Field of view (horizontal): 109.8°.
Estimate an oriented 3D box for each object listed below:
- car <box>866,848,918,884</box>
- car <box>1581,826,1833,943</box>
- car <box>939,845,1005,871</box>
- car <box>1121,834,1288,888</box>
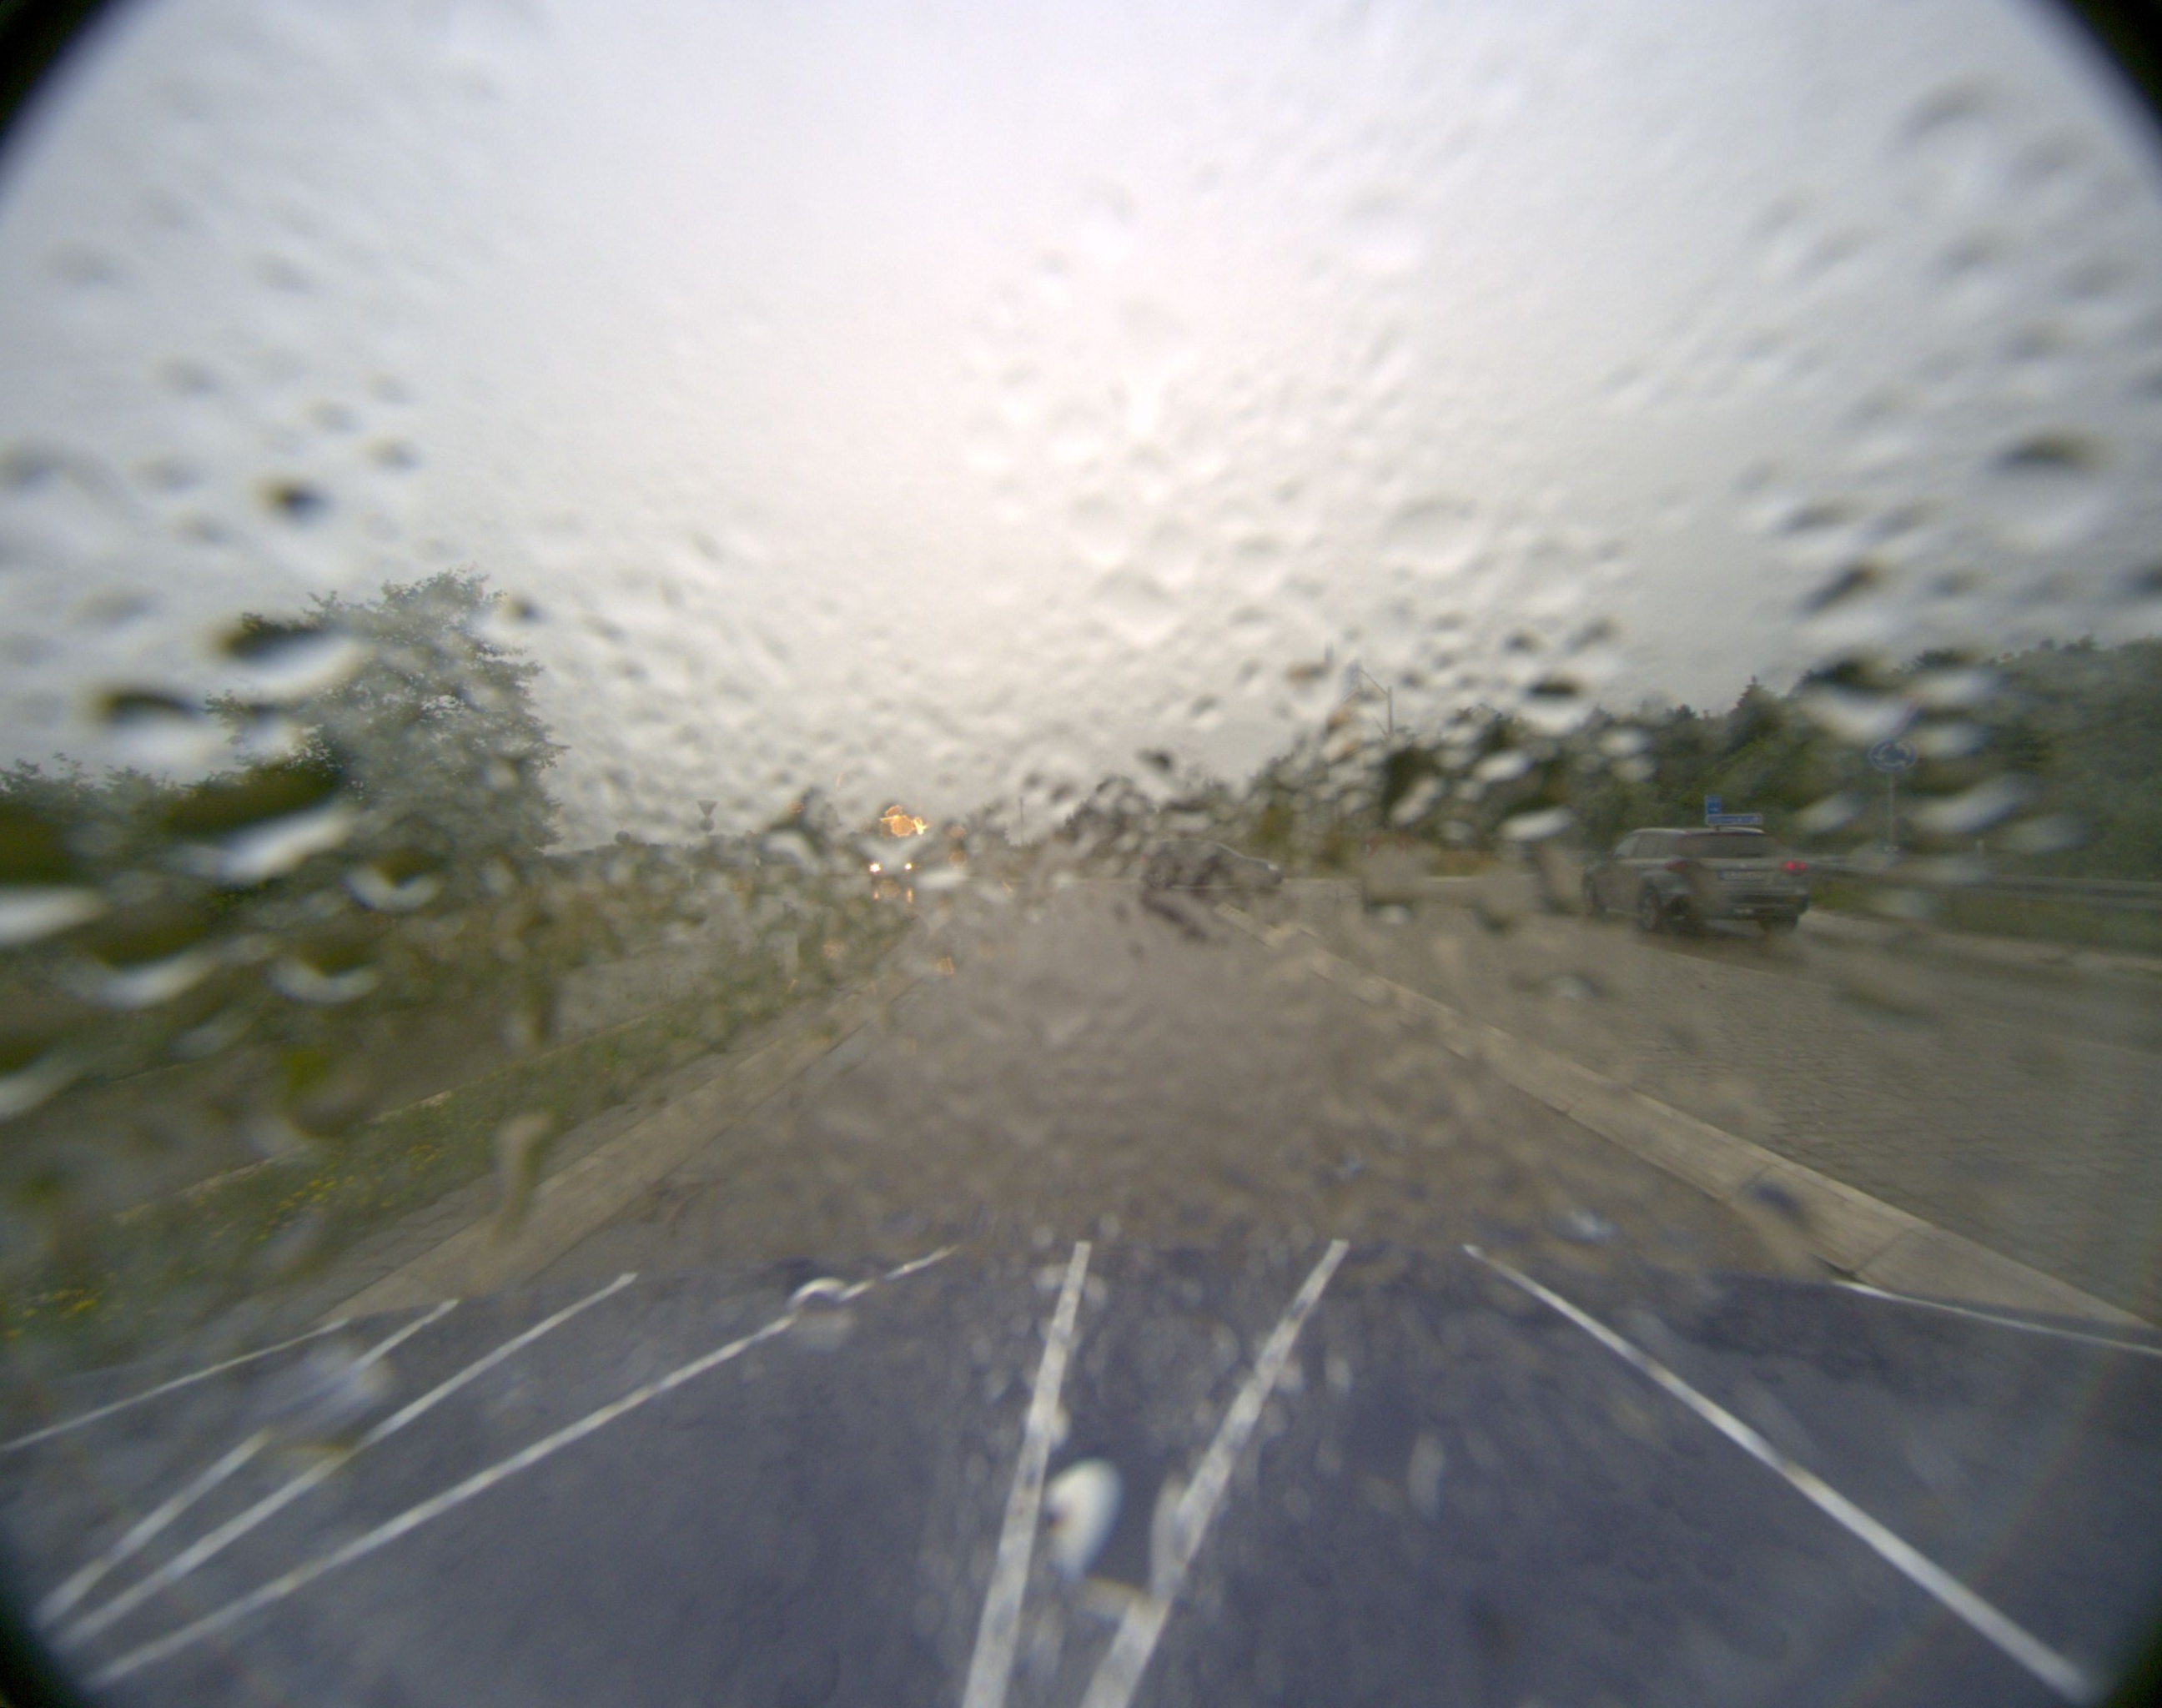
[{"bbox_3d":[-7.964,0.497,31.692,1.951,1.363,4.498,0,-1,-16],"label":"car"},{"bbox_3d":[9.770,0.353,12.305,1.803,1.566,4.004,-1,2,18],"label":"car"},{"bbox_3d":[-6.235,0.273,44.002,1.760,1.412,4.511,-1,-1,22],"label":"car"},{"bbox_3d":[3.593,0.207,21.969,4.494,1.412,1.877,-1,0,19],"label":"car"}]
